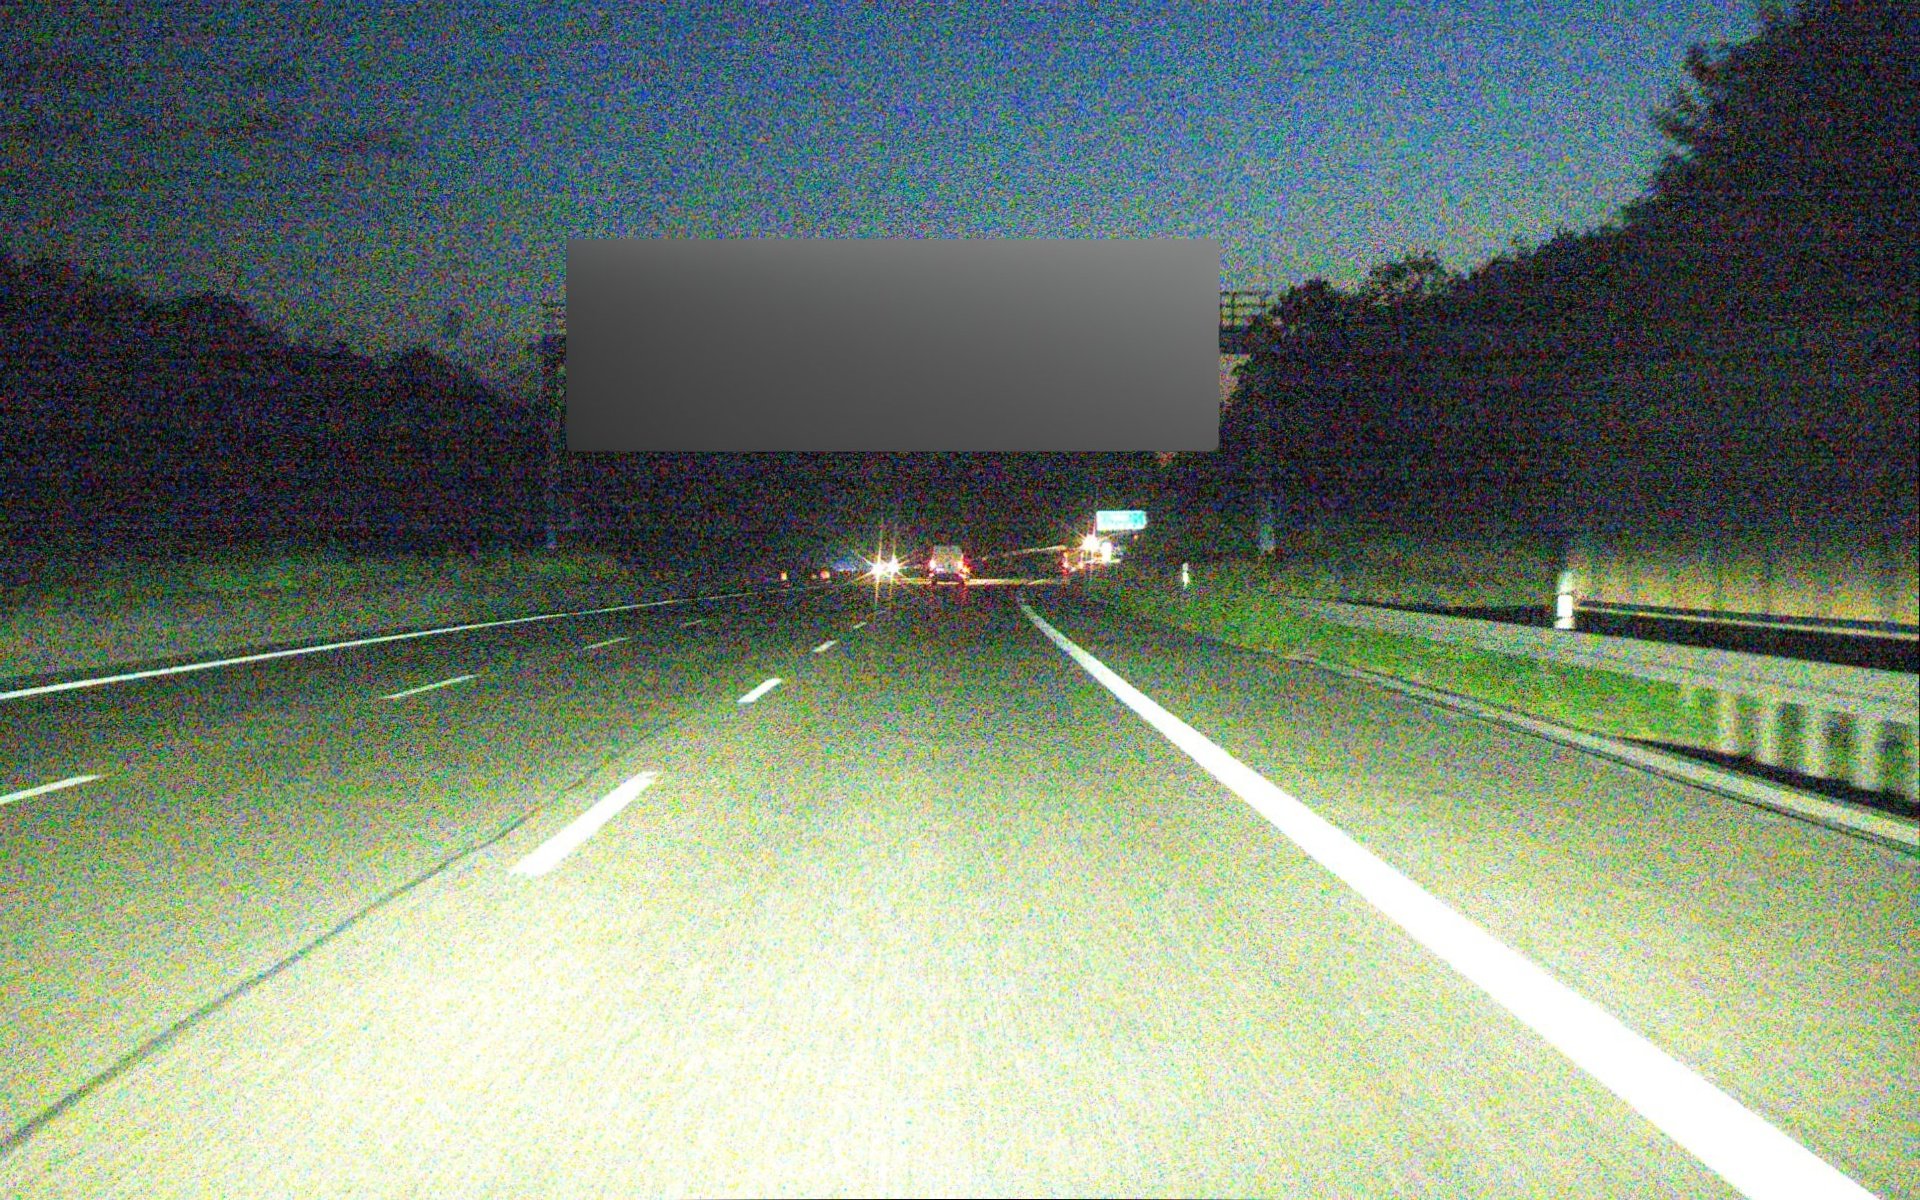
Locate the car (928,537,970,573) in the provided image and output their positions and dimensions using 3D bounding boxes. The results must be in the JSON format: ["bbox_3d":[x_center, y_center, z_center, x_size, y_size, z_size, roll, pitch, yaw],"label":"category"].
[{"bbox_3d":[-0.691,-2.925,223.643,2.511,2.306,4.970,0,0,3],"label":"car"}]
